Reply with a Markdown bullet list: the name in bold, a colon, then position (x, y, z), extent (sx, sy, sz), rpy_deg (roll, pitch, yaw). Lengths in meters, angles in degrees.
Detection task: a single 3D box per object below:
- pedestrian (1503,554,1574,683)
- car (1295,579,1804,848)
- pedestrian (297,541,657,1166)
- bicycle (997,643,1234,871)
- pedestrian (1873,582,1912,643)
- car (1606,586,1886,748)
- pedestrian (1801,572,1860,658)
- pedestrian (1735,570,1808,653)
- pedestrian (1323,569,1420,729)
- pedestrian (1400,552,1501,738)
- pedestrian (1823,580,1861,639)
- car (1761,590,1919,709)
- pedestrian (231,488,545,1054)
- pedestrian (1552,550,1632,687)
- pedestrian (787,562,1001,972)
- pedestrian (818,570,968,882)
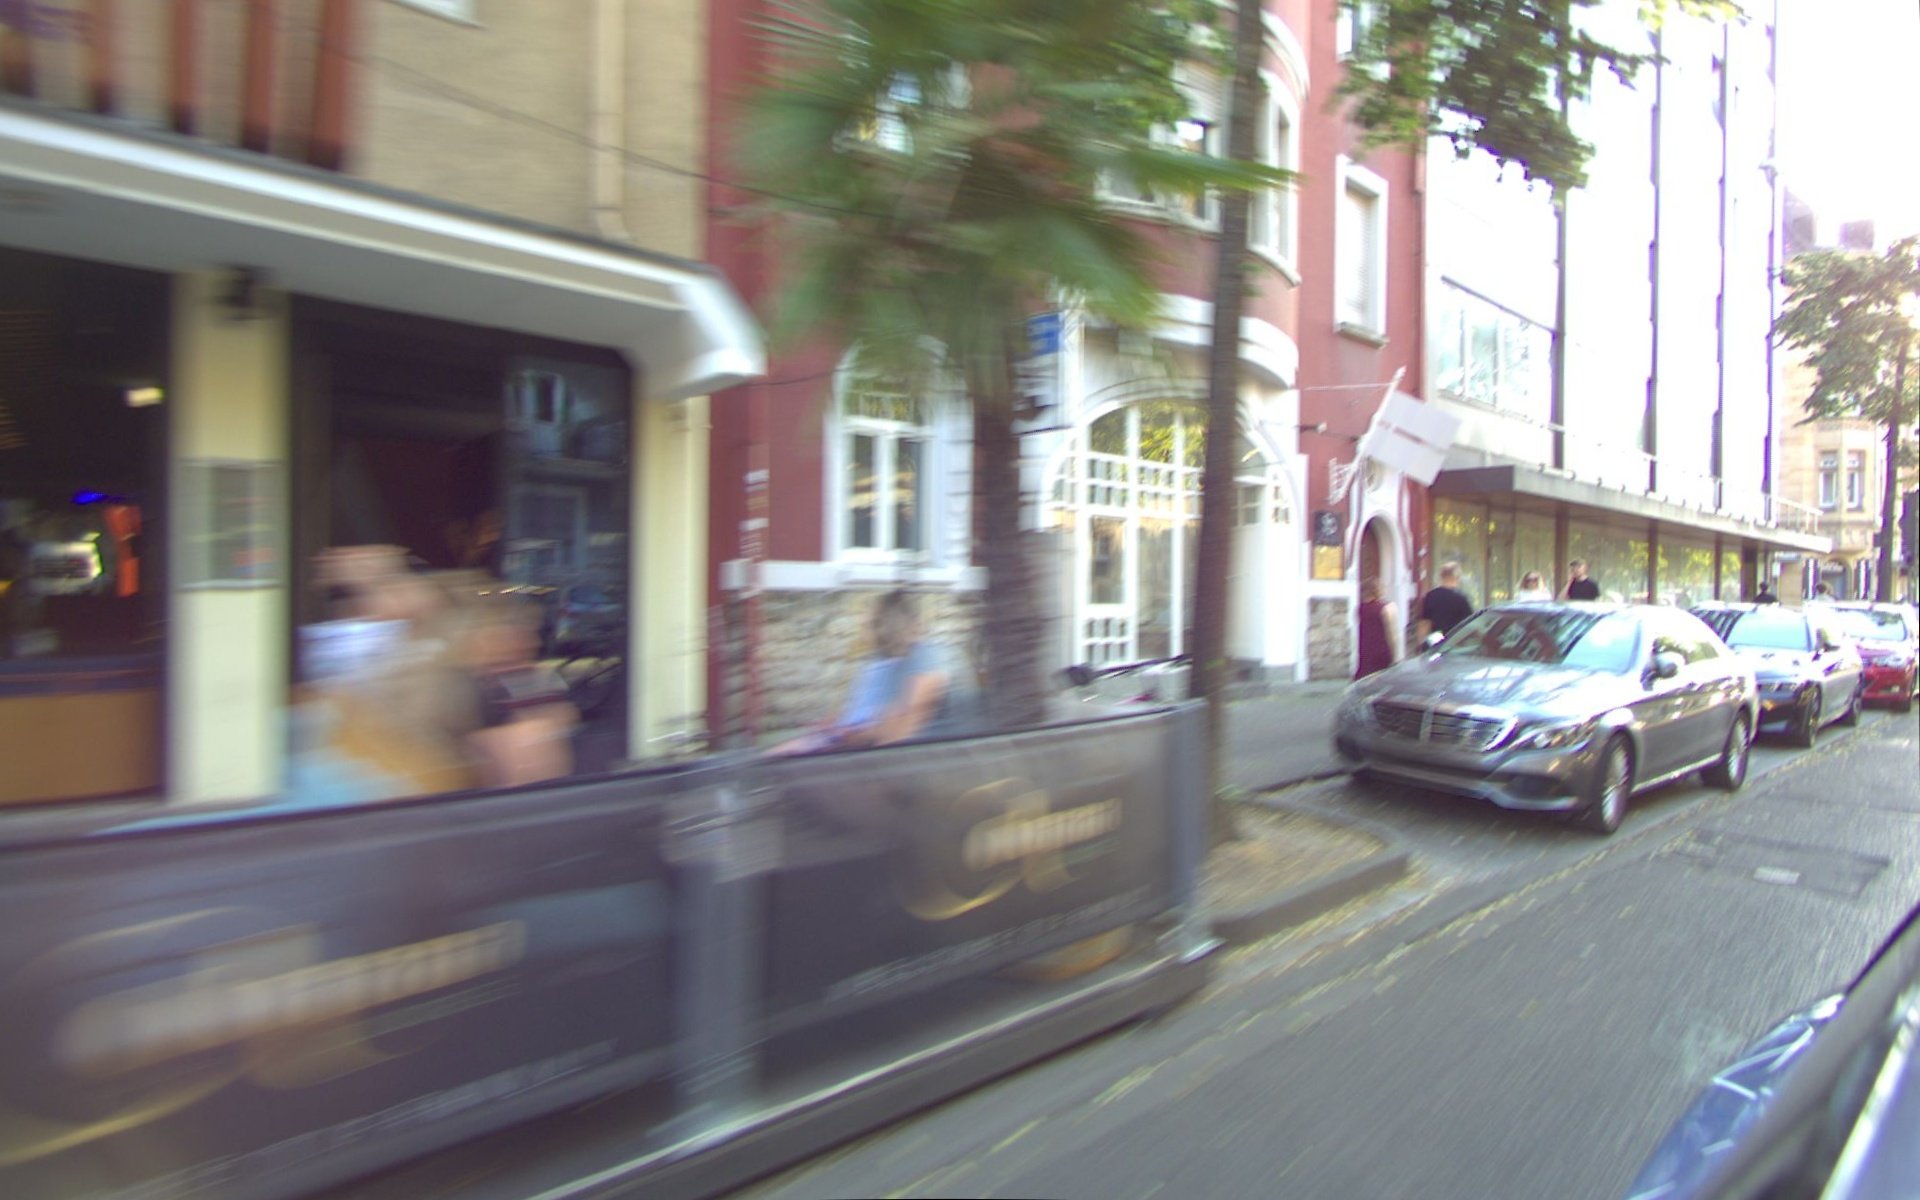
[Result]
- **pedestrian**: position (8.580, 0.253, 15.014), extent (0.821, 1.831, 0.590), rpy_deg (0, 3, -41)
- **car**: position (4.847, 0.638, 7.965), extent (4.909, 1.457, 1.779), rpy_deg (0, 3, -39)
- **pedestrian**: position (-1.398, 0.601, 2.925), extent (0.781, 1.503, 0.633), rpy_deg (1, 2, -40)
- **bicycle**: position (0.901, 0.770, 5.500), extent (0.385, 0.996, 1.685), rpy_deg (1, 1, 43)
- **pedestrian**: position (27.884, 0.368, 30.249), extent (0.798, 1.780, 0.756), rpy_deg (0, 0, -41)
- **car**: position (9.373, 0.645, 11.937), extent (4.341, 1.488, 1.778), rpy_deg (0, 3, -41)
- **pedestrian**: position (19.167, 0.321, 22.280), extent (0.854, 1.807, 0.732), rpy_deg (0, 4, -40)
- **pedestrian**: position (18.487, 0.244, 23.064), extent (0.928, 1.807, 1.049), rpy_deg (0, 3, -40)
- **pedestrian**: position (4.092, 0.461, 10.069), extent (0.629, 1.507, 0.626), rpy_deg (0, 2, -40)
- **pedestrian**: position (4.710, 0.404, 9.720), extent (0.629, 1.698, 0.626), rpy_deg (1, 1, -40)
- **pedestrian**: position (27.306, 0.276, 31.328), extent (0.798, 1.780, 0.756), rpy_deg (0, 0, -41)
- **car**: position (14.139, 0.658, 15.788), extent (4.670, 1.511, 1.726), rpy_deg (0, 3, -41)
- **pedestrian**: position (-1.929, 0.475, 3.403), extent (0.781, 1.618, 0.709), rpy_deg (1, 2, -40)
- **pedestrian**: position (9.085, 0.247, 14.537), extent (0.959, 1.891, 0.627), rpy_deg (0, 3, -41)
- **pedestrian**: position (-0.272, 0.603, 4.087), extent (0.592, 1.480, 0.578), rpy_deg (1, 2, -40)
- **pedestrian**: position (-0.323, 0.549, 4.787), extent (0.430, 1.361, 0.549), rpy_deg (0, 2, -40)
